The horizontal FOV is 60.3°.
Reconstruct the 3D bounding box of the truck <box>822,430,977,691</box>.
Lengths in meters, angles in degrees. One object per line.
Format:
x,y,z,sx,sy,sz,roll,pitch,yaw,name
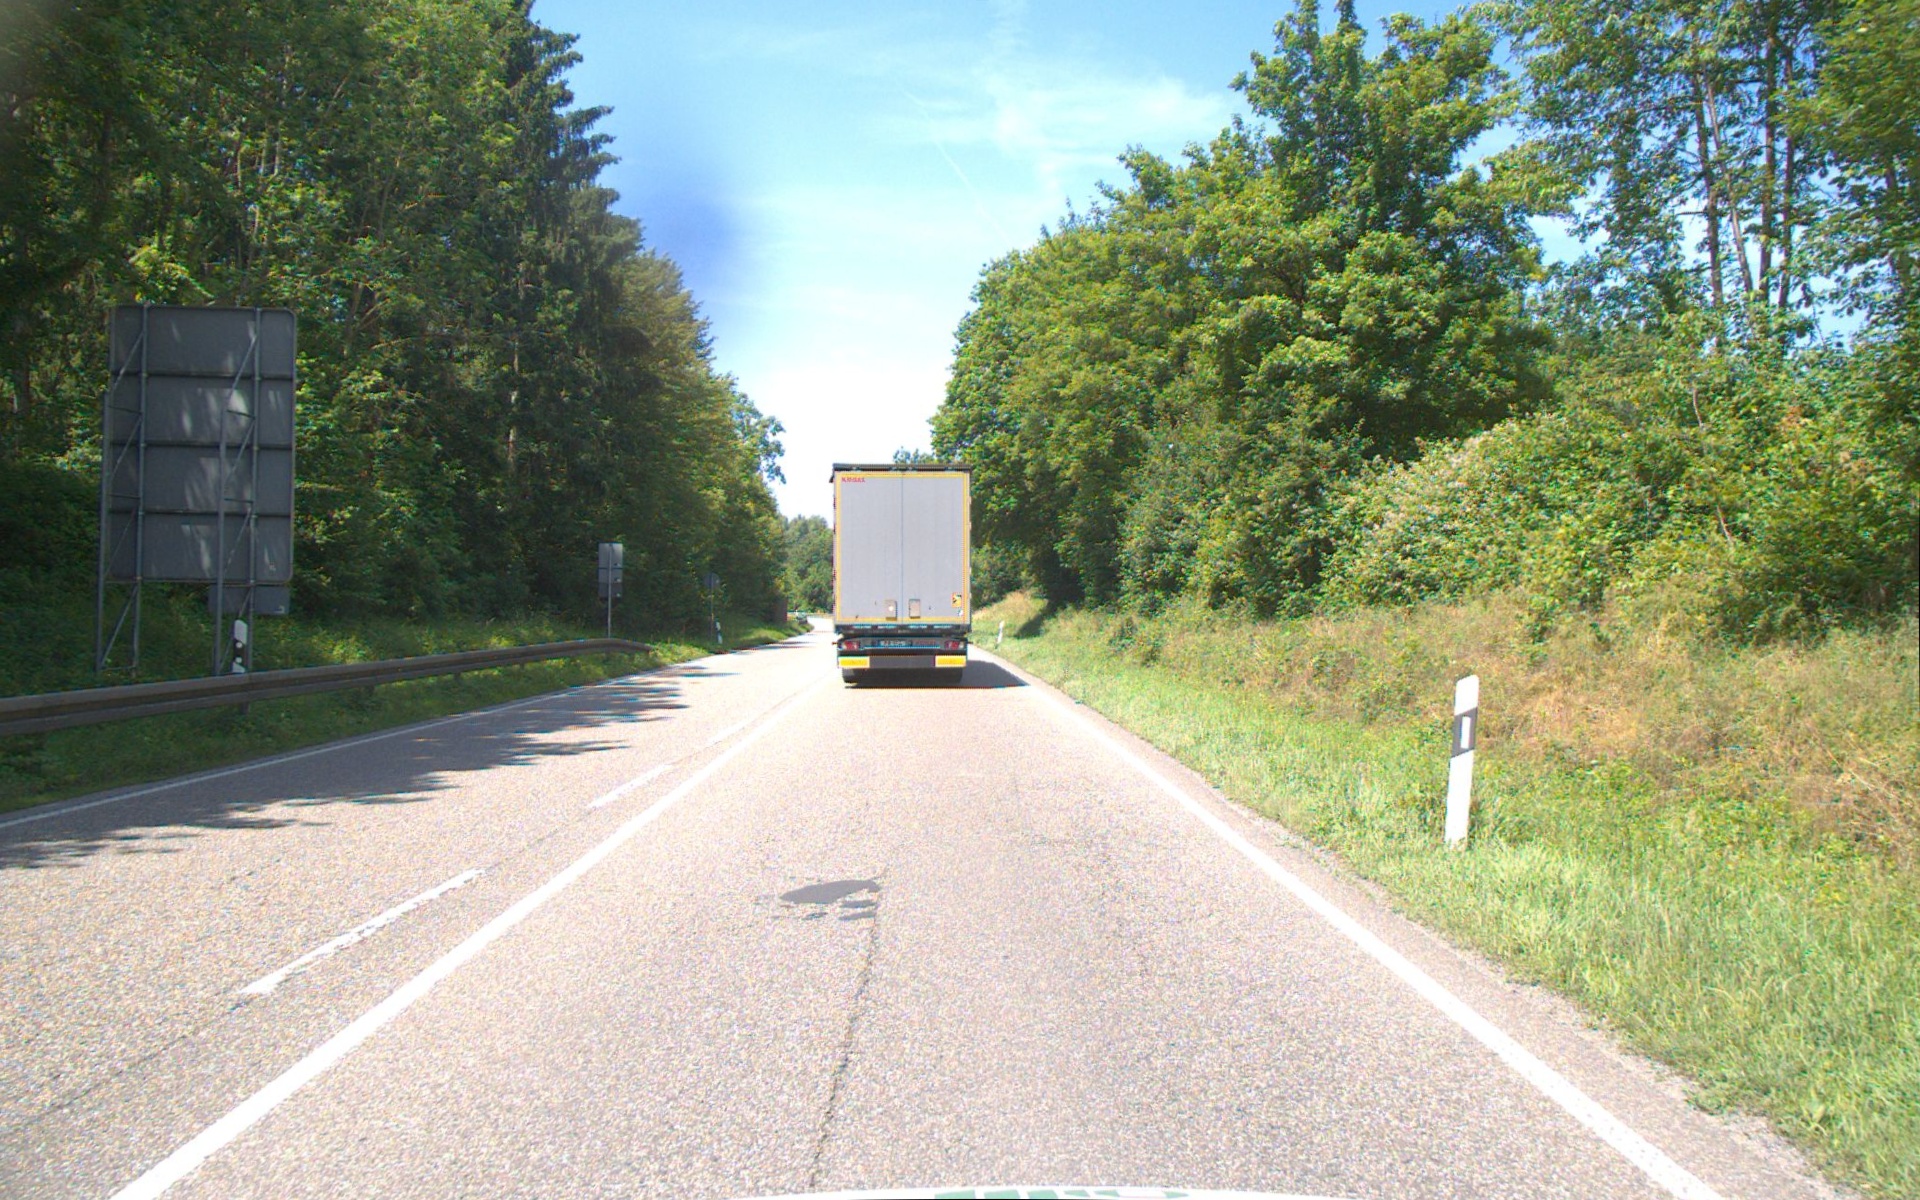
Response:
-1.115,-0.684,33.035,2.765,4.684,6.664,0,0,-1,truck
